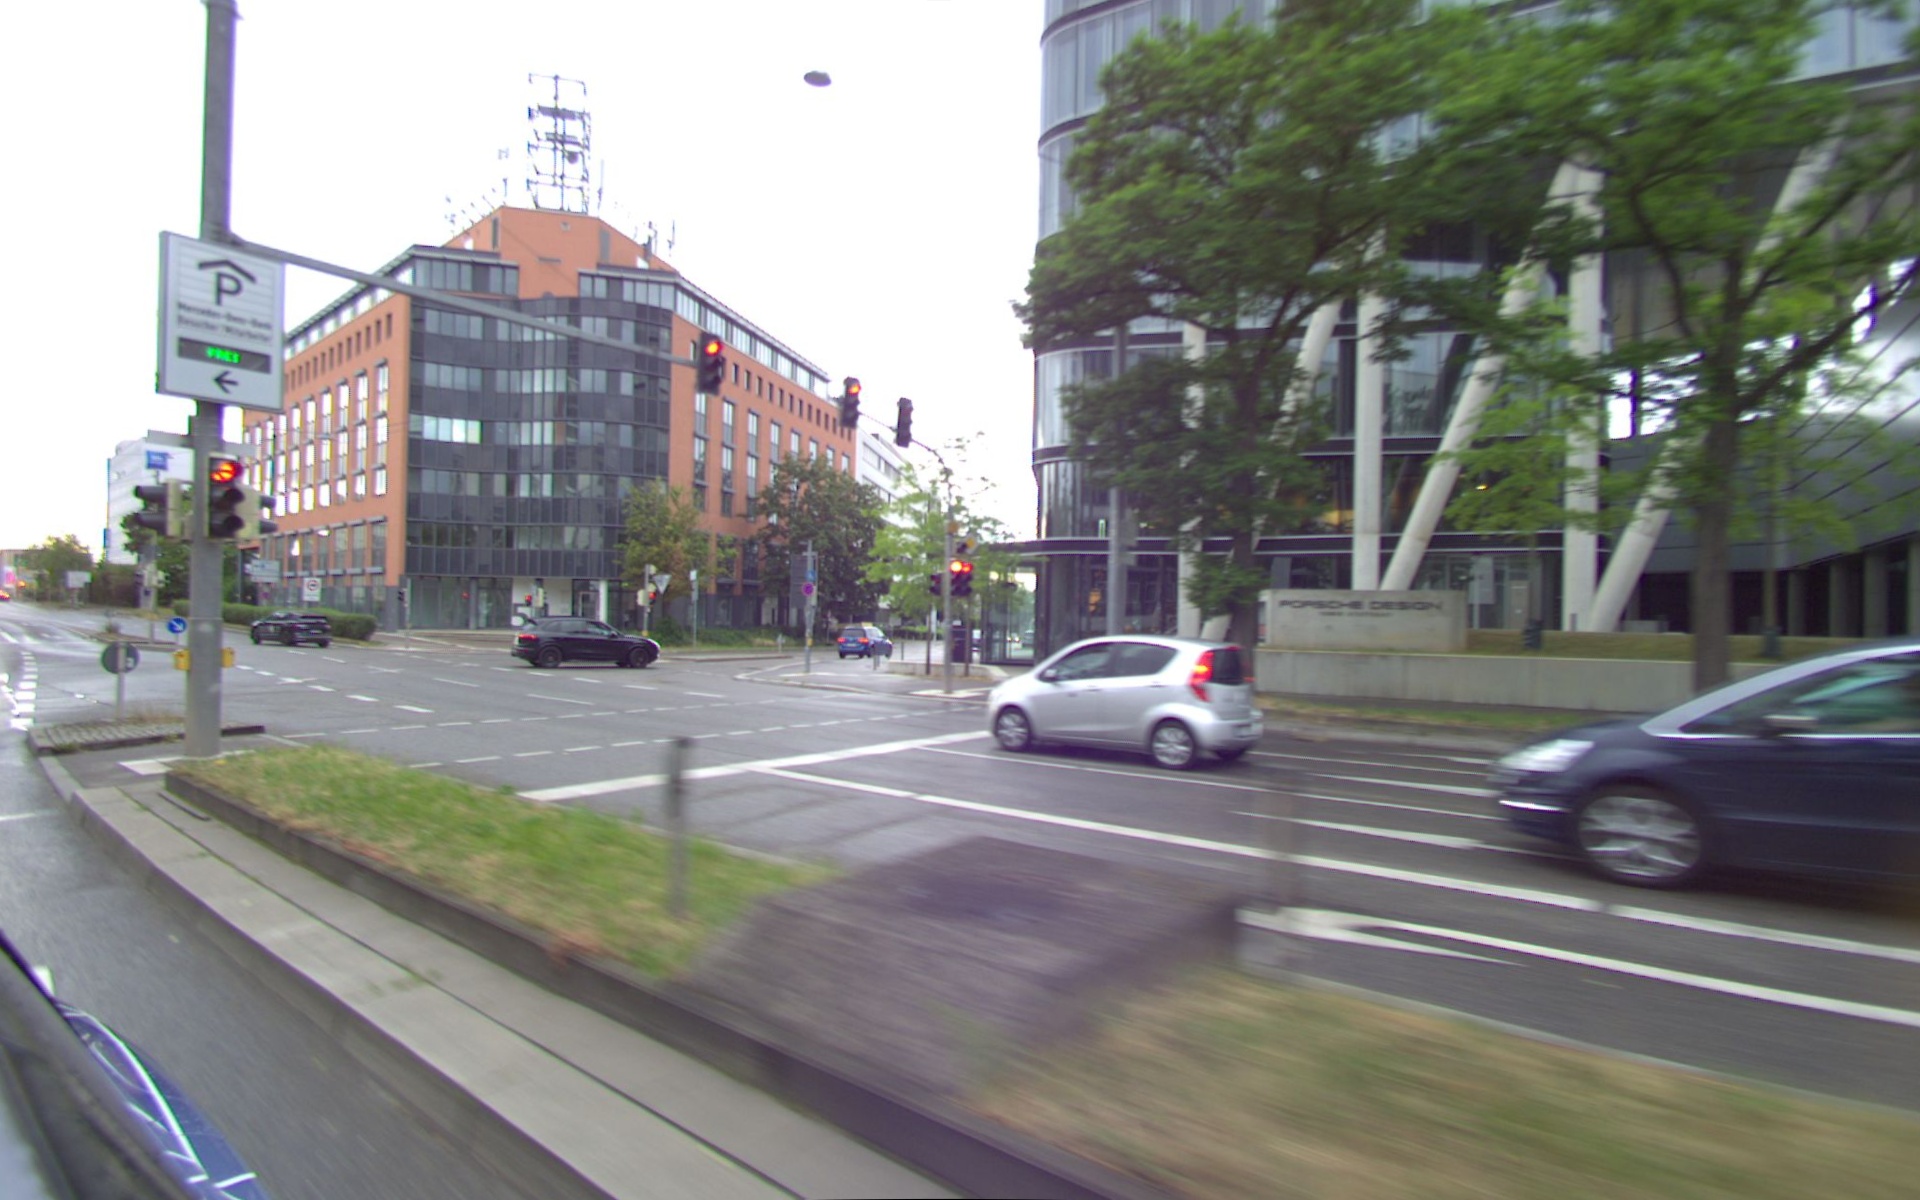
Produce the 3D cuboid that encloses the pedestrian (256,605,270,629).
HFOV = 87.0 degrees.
[{"bbox_3d":[-54.844,1.302,79.652,0.886,1.855,0.737,0,0,44],"label":"pedestrian"}]

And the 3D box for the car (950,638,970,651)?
[{"bbox_3d":[0.012,5.357,121.564,1.779,1.522,3.989,1,-2,8],"label":"car"}]

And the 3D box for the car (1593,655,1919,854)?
[{"bbox_3d":[7.910,1.223,8.074,4.652,1.422,1.795,-1,-4,41],"label":"car"}]

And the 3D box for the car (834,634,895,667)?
[{"bbox_3d":[-4.970,2.603,53.177,1.762,1.608,4.176,1,-2,15],"label":"car"}]

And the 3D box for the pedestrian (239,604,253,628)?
[{"bbox_3d":[-55.867,1.277,79.217,0.886,1.855,0.737,0,0,44],"label":"pedestrian"}]

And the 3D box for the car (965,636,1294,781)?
[{"bbox_3d":[2.085,1.269,12.983,3.814,1.532,1.732,-1,-3,40],"label":"car"}]

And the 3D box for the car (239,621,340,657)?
[{"bbox_3d":[-30.565,1.761,46.141,4.348,1.522,1.841,0,-3,26],"label":"car"}]

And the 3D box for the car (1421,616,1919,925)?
[{"bbox_3d":[5.760,0.958,6.101,5.115,1.628,1.973,-1,-4,40],"label":"car"}]

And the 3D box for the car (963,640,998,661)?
[{"bbox_3d":[1.633,3.920,78.333,1.835,1.522,4.029,1,-2,14],"label":"car"}]

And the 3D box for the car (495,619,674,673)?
[{"bbox_3d":[-12.625,1.556,34.139,5.331,1.679,2.006,2,-2,-30],"label":"car"}]

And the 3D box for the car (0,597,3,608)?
[{"bbox_3d":[-141.482,0.332,148.128,3.999,1.580,1.744,0,-1,42],"label":"car"}]
